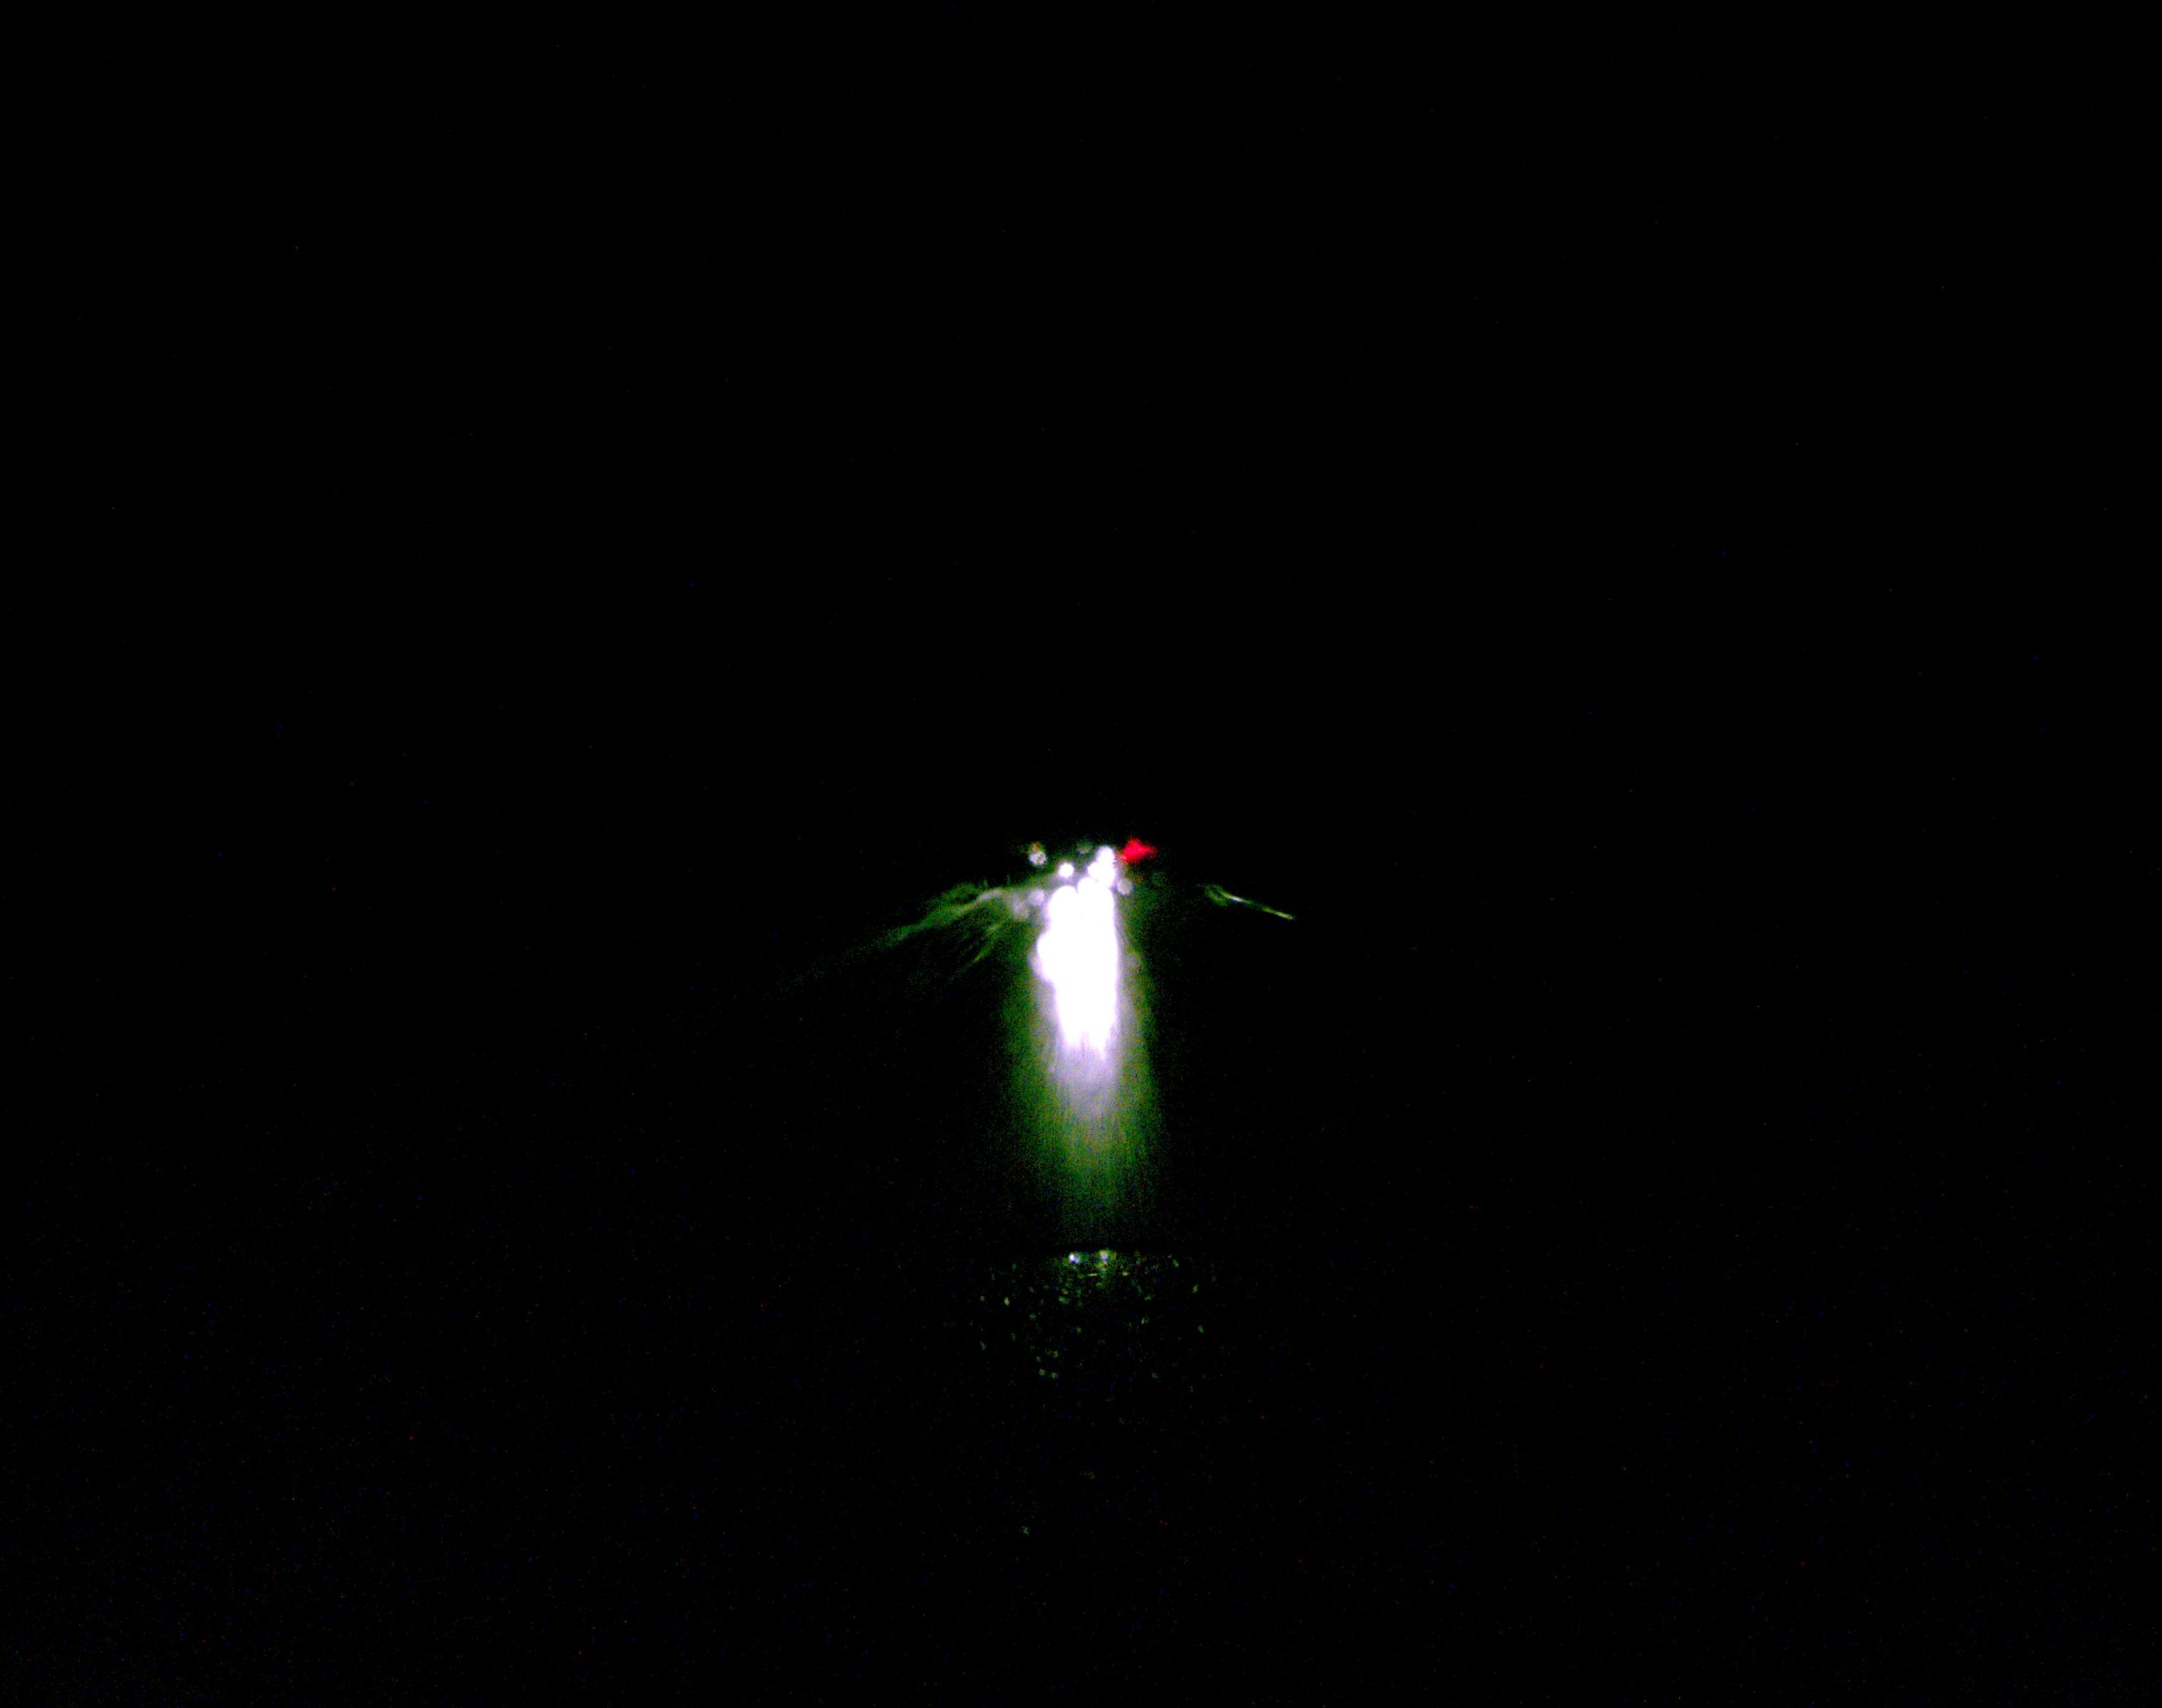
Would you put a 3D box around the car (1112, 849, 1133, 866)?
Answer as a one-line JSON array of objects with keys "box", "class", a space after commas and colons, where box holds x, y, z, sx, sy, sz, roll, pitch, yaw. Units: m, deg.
[{"box": [4.102, 0.358, 76.144, 1.806, 1.501, 3.614, -4, 1, 0], "class": "car"}]

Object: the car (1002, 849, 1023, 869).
[{"box": [-7.151, 0.486, 79.878, 1.883, 1.799, 4.153, -4, 2, -3], "class": "car"}]

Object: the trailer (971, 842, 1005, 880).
[{"box": [-6.430, 0.415, 52.946, 1.634, 2.351, 4.651, -6, 1, -1], "class": "trailer"}]

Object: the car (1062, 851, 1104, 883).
[{"box": [0.153, 0.653, 40.523, 1.998, 1.412, 3.999, -4, 1, 2], "class": "car"}]

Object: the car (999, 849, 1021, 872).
[{"box": [-7.044, 0.592, 75.268, 1.883, 2.028, 4.388, -4, 2, -5], "class": "car"}]

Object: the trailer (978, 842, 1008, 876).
[{"box": [-6.666, 0.304, 58.105, 1.610, 2.339, 4.429, -6, 1, -1], "class": "trailer"}]

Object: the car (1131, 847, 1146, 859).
[{"box": [8.188, -0.178, 108.894, 1.998, 1.451, 4.897, -2, 2, 2], "class": "car"}]
